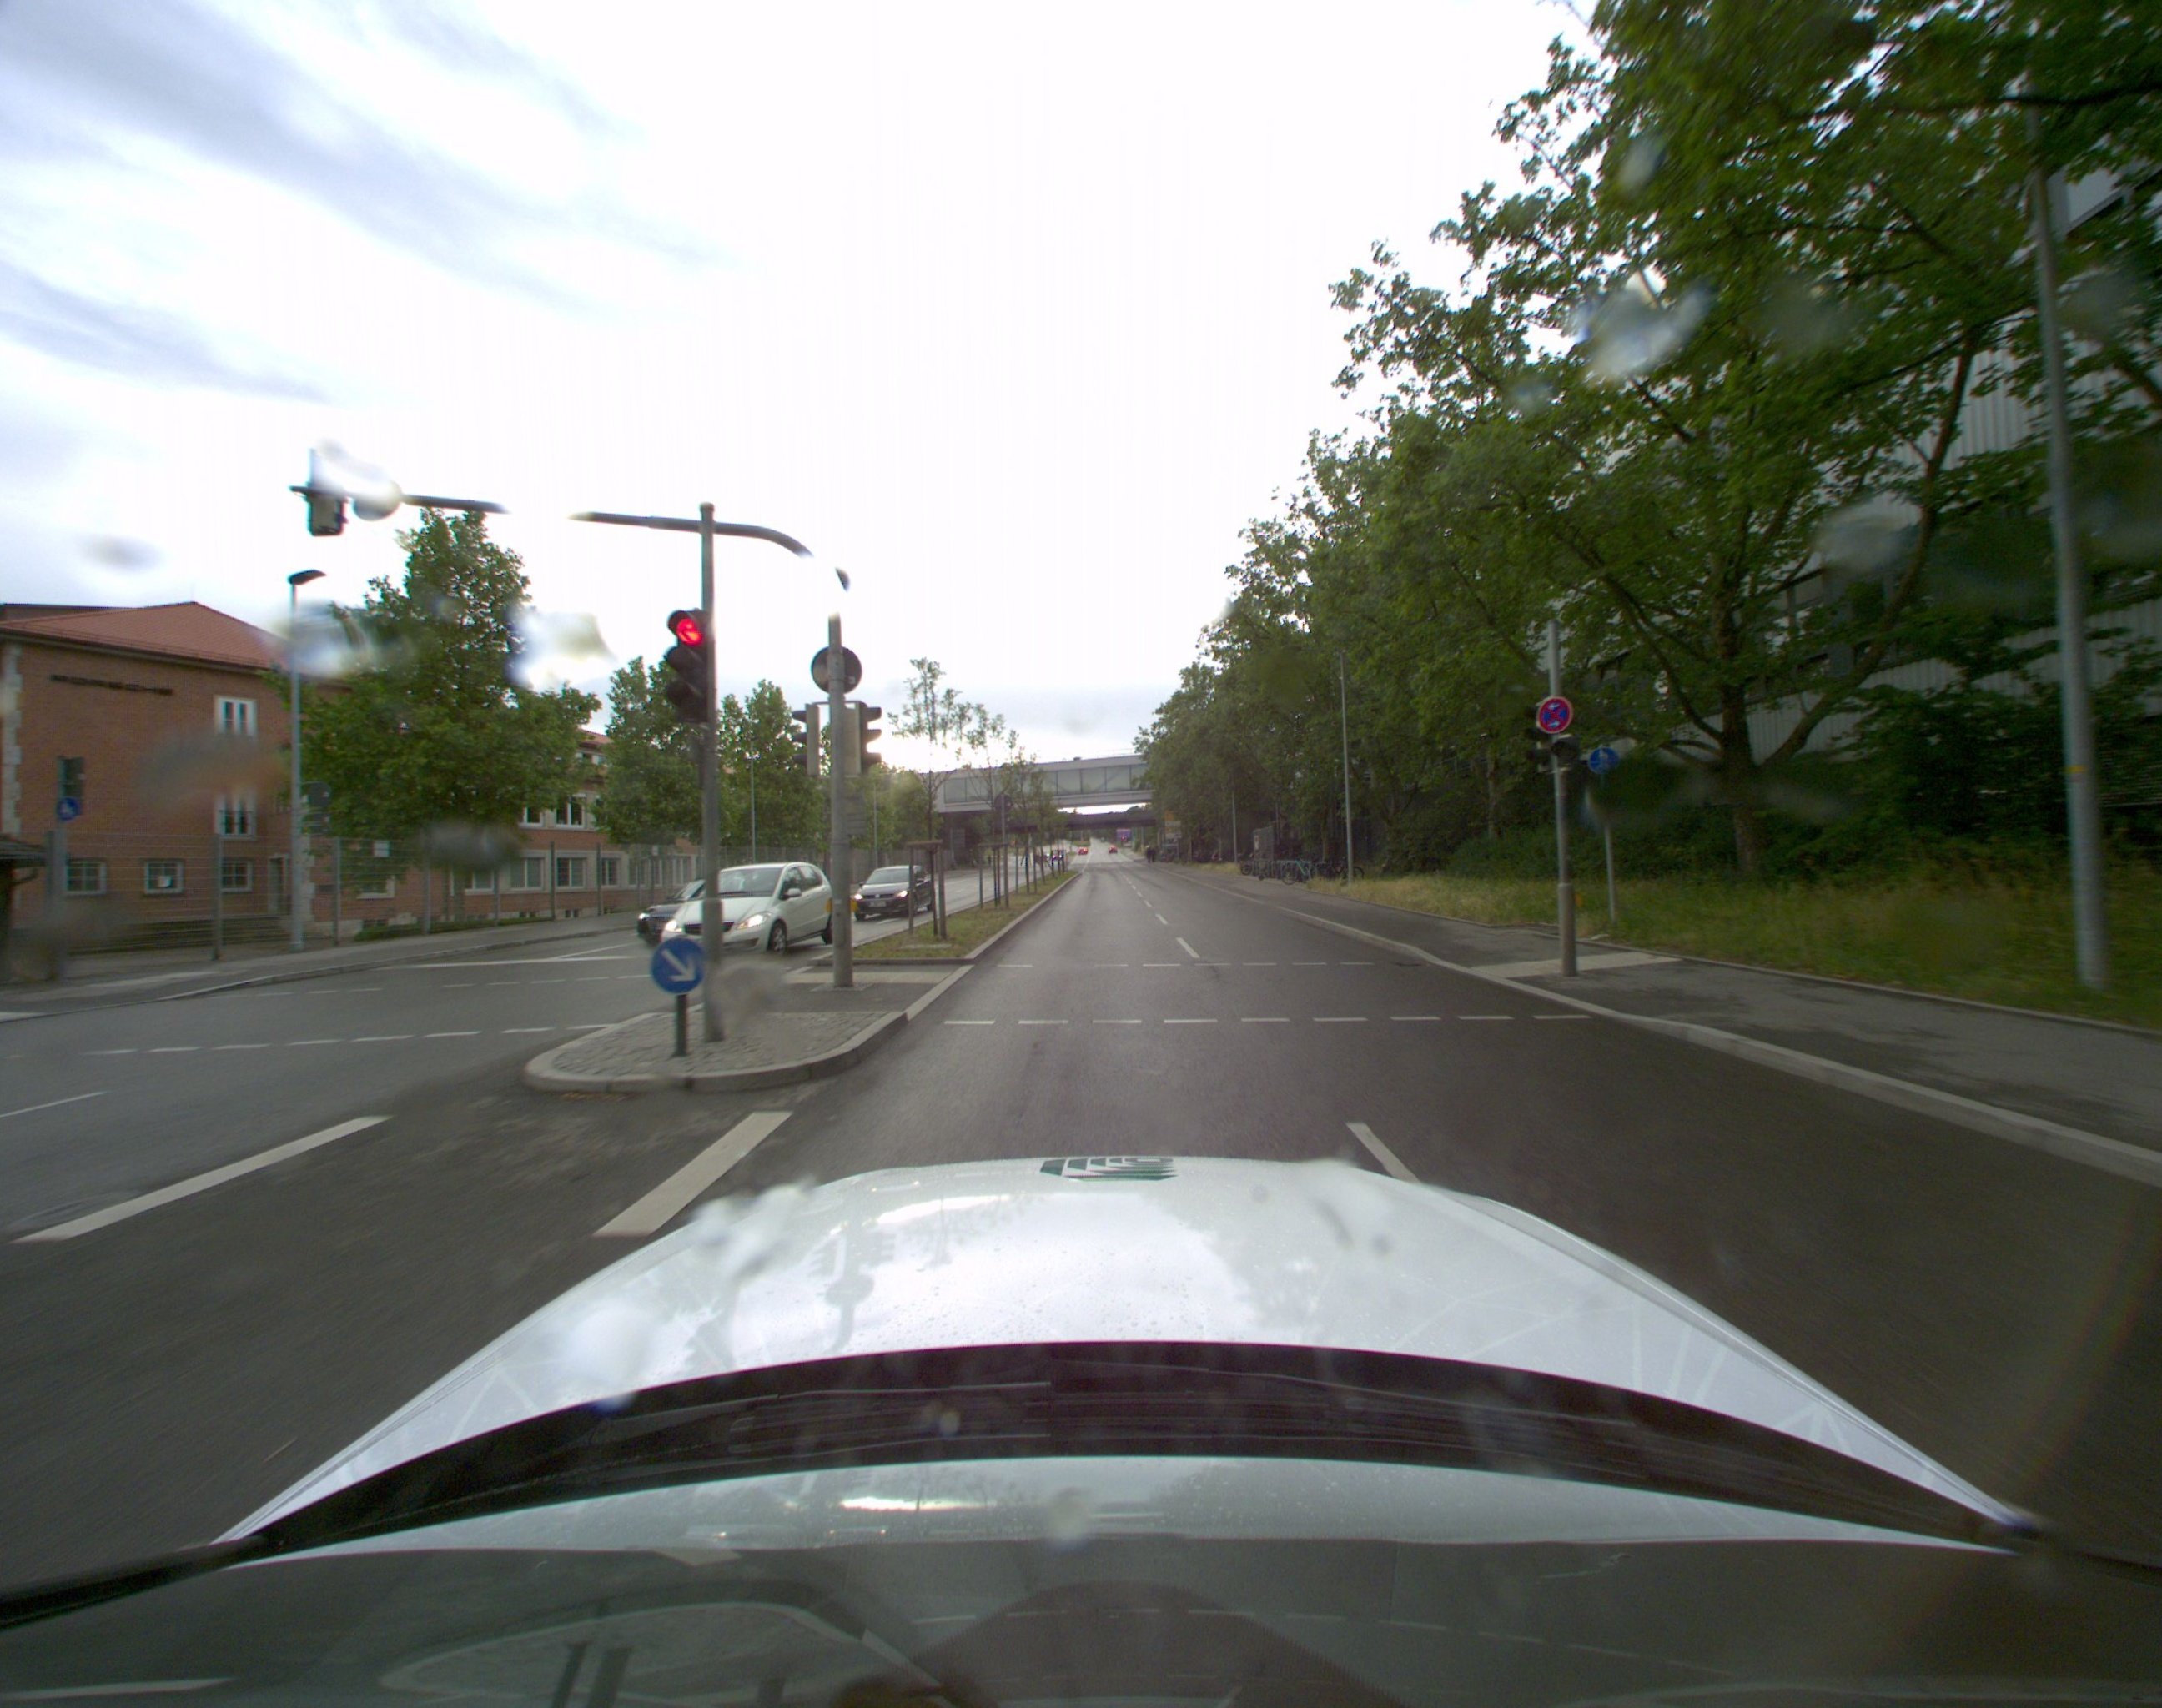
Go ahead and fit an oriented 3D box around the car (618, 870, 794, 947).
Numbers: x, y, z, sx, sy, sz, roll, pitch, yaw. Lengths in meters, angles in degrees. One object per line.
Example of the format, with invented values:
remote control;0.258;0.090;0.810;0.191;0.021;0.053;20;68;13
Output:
car;-8.422;1.155;18.823;1.767;1.404;4.616;-3;0;2

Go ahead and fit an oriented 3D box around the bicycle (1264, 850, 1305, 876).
bicycle;9.642;0.429;38.597;1.785;1.167;0.447;-3;0;-5

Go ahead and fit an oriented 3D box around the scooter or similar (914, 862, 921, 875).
scooter or similar;-16.171;1.409;80.597;0.310;1.218;1.308;-3;0;1

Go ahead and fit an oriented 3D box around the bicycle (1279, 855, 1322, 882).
bicycle;8.719;0.575;32.375;1.546;1.005;0.393;-3;0;0

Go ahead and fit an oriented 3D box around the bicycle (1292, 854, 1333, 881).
bicycle;9.488;0.561;33.371;1.546;1.005;0.393;-3;0;0

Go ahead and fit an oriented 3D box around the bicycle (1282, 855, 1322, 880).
bicycle;9.589;0.583;35.353;1.546;1.005;0.393;-3;0;0

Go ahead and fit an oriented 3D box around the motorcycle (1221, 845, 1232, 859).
motorcycle;13.993;-0.197;78.451;0.643;1.279;1.991;-2;0;1

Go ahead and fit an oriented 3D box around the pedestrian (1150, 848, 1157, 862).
pedestrian;8.640;0.114;96.841;0.646;1.596;0.580;-3;0;12

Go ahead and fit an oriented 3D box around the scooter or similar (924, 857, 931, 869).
scooter or similar;-16.085;0.922;85.339;0.310;1.218;1.310;-3;0;6

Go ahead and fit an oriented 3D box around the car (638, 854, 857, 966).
car;-5.627;0.859;14.457;1.764;1.589;4.488;-3;-1;3

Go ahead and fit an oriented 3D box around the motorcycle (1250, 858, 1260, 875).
motorcycle;13.850;0.973;64.769;0.502;1.365;1.504;0;-1;3

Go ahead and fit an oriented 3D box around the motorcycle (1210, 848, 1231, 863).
motorcycle;10.903;0.099;63.569;1.643;1.150;0.494;0;-1;9

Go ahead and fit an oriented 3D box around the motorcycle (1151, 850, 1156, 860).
motorcycle;8.616;0.076;96.956;0.468;1.136;1.819;-3;0;1

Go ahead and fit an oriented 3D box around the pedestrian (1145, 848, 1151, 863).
pedestrian;7.999;0.168;96.983;0.607;1.721;0.894;-3;0;11

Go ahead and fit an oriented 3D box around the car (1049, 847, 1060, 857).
car;-4.690;-0.299;142.443;1.579;1.605;3.856;-4;0;1

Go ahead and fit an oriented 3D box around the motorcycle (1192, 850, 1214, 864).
motorcycle;11.019;0.250;73.582;1.851;1.191;0.519;-2;0;-15

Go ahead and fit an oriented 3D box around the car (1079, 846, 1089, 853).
car;0.735;-1.021;190.889;2.157;1.582;4.666;0;-1;2

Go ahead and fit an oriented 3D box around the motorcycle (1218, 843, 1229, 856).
motorcycle;14.563;-0.453;83.248;0.345;1.279;2.084;-2;0;29

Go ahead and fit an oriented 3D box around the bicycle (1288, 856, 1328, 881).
bicycle;9.567;0.610;34.291;1.546;0.958;0.393;-3;0;0

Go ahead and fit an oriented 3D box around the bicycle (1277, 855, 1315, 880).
bicycle;9.528;0.605;36.174;1.546;1.005;0.393;-3;0;0

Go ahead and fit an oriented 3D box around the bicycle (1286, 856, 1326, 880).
bicycle;9.572;0.604;34.693;1.546;0.958;0.393;-3;0;0

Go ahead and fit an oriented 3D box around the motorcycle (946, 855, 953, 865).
motorcycle;-16.437;0.723;101.661;0.467;1.205;1.997;-3;1;1

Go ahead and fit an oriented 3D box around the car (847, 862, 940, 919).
car;-5.342;1.002;23.717;1.572;1.404;4.113;-3;0;2

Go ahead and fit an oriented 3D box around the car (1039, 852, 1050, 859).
car;-7.589;0.315;169.908;2.057;1.361;4.756;-3;0;0

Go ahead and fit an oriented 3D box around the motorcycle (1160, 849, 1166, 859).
motorcycle;9.849;-0.006;98.065;0.468;1.213;1.943;-3;0;-2

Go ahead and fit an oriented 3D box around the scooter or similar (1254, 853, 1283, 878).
scooter or similar;8.600;0.532;37.302;1.210;1.091;0.312;-3;0;-4

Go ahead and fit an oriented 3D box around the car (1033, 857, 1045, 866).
car;-7.053;1.218;136.669;1.710;1.437;3.771;-4;0;0

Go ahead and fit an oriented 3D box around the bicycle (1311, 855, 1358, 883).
bicycle;9.496;0.560;30.566;1.602;0.939;0.387;-3;-1;0

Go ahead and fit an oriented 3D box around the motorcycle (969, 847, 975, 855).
motorcycle;-15.647;-0.396;116.953;0.466;1.158;1.934;-3;1;4

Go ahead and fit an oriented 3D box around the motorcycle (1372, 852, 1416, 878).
motorcycle;13.049;0.456;33.970;1.602;1.001;0.577;-3;-1;0

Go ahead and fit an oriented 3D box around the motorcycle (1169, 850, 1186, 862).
motorcycle;11.434;0.224;96.888;1.919;1.297;0.551;-3;0;36

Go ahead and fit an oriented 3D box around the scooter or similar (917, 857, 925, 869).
scooter or similar;-16.215;0.882;82.518;0.309;1.218;1.312;-3;0;13

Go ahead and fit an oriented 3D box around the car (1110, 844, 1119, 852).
car;7.370;-1.317;179.692;1.739;1.470;4.166;-1;1;0

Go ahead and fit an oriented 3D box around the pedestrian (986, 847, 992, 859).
pedestrian;-13.757;-0.137;121.933;0.516;1.816;0.802;-1;0;11

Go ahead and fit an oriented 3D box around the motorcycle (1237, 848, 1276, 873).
motorcycle;9.469;0.354;44.038;1.994;1.273;0.443;-3;0;13

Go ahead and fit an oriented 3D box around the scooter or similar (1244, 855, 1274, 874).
scooter or similar;9.320;0.550;42.596;1.476;0.937;0.364;-3;0;-17

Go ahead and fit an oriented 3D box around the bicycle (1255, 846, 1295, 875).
bicycle;9.603;0.323;40.384;1.859;1.348;0.446;-3;0;-12

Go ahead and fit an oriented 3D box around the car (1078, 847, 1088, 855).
car;0.359;-0.719;180.092;2.070;1.718;4.196;0;-1;-1
